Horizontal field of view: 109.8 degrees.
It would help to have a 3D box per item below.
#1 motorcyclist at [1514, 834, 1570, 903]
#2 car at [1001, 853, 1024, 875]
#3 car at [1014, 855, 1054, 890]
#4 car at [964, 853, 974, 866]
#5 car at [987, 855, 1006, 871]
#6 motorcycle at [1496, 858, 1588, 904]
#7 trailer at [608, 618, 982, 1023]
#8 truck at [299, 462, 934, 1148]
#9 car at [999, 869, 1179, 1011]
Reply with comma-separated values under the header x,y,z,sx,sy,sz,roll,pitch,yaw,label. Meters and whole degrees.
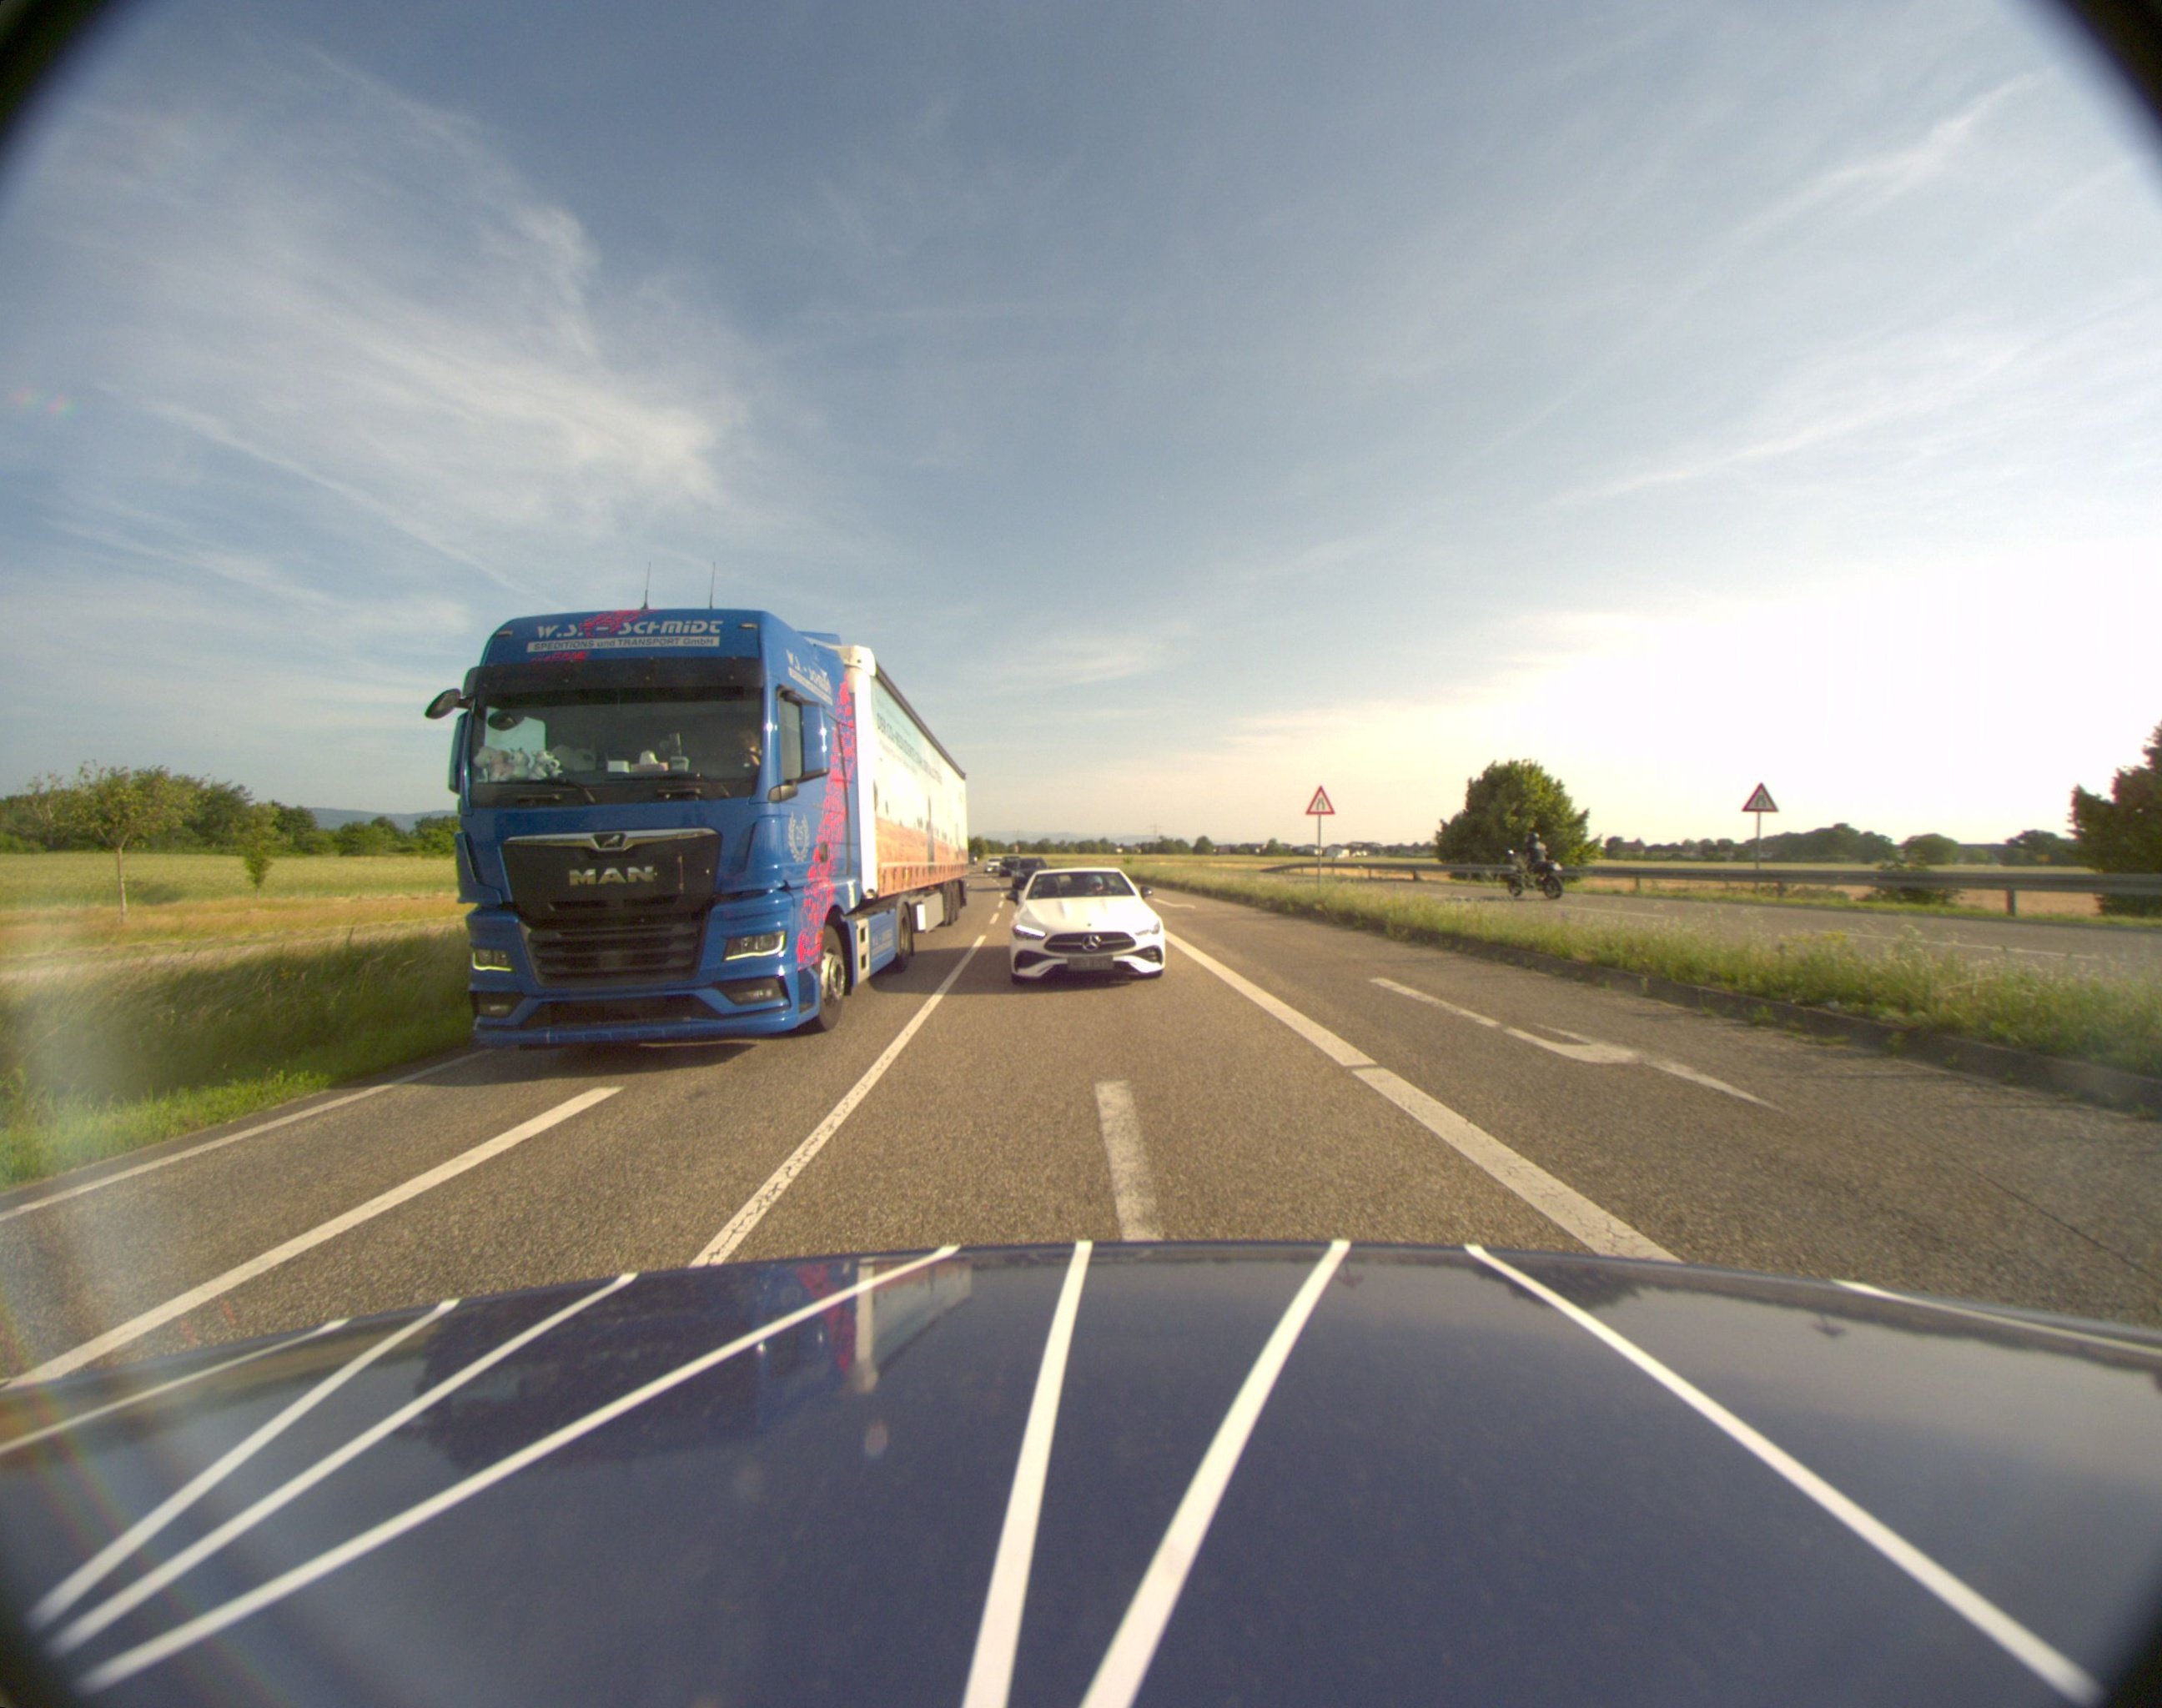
x,y,z,sx,sy,sz,roll,pitch,yaw,label
12.093,0.363,19.960,0.906,1.748,0.831,-2,1,-6,motorcyclist
-5.098,0.739,56.298,1.558,1.550,3.046,-1,0,-8,car
-2.273,0.835,35.895,1.586,1.496,3.658,-1,0,-8,car
-17.836,0.860,120.740,1.558,1.909,4.032,-1,0,-8,car
-7.840,0.771,70.346,1.558,1.392,4.032,-1,0,-8,car
12.106,0.678,20.045,0.940,1.118,2.169,-2,0,-5,motorcycle
-4.156,-0.485,15.463,3.291,4.654,13.140,-2,1,-4,trailer
-3.687,-0.386,8.097,3.309,4.631,5.729,-2,1,-4,truck
0.034,0.981,10.318,1.941,1.389,3.917,-2,1,-2,car
